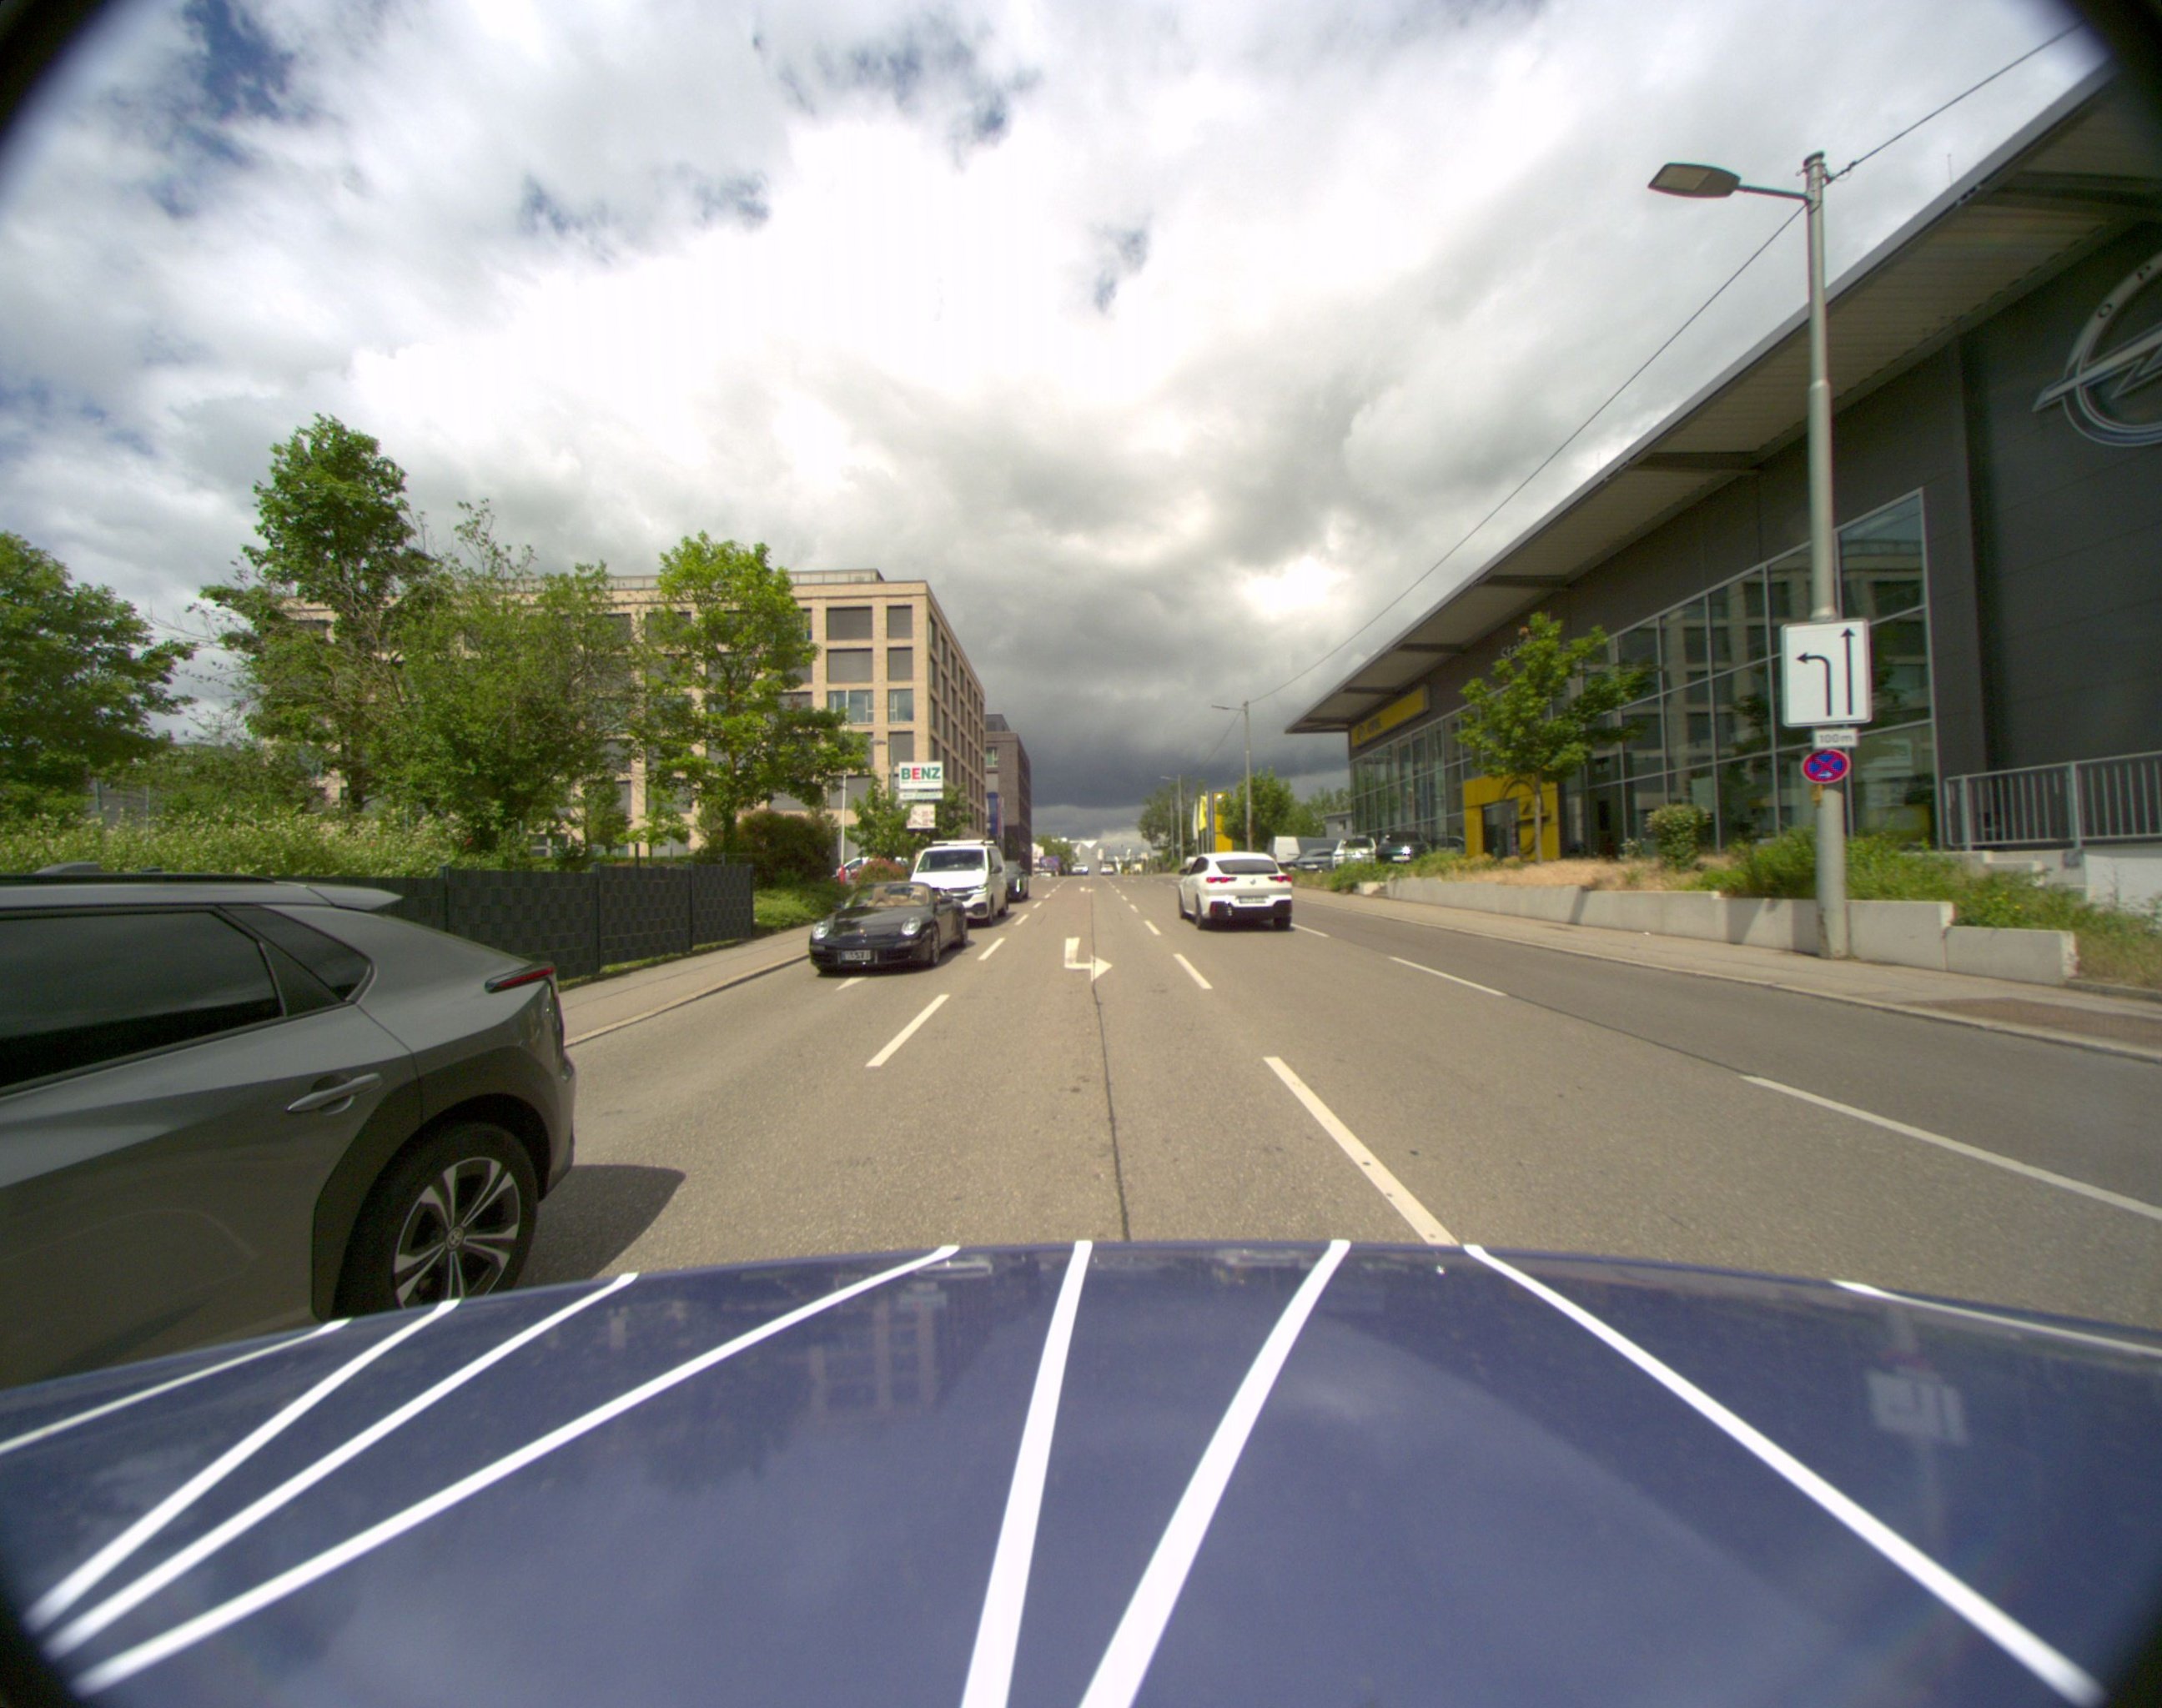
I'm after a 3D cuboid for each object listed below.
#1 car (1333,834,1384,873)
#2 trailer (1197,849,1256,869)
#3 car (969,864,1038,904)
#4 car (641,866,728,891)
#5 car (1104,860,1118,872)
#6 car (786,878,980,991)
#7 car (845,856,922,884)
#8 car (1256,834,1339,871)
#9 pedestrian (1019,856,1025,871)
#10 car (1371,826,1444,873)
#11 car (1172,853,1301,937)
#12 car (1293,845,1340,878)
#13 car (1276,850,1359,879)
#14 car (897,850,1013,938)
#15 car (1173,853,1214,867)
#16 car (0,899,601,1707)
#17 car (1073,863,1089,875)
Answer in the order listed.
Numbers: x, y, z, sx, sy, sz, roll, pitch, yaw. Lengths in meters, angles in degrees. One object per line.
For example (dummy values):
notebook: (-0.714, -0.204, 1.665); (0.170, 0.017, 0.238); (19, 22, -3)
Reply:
car: (12.305, -0.027, 33.562); (1.793, 1.604, 4.115); (-1, 1, 25)
trailer: (13.137, 0.430, 68.679); (4.835, 1.742, 2.095); (-1, 0, -3)
car: (-2.782, 1.054, 28.194); (1.777, 1.267, 4.569); (-1, 0, 4)
car: (-23.385, 1.431, 44.890); (4.219, 1.410, 1.735); (-1, 0, -1)
car: (4.348, 1.786, 111.680); (1.924, 1.604, 4.415); (-1, 1, 1)
car: (-2.924, 1.140, 12.327); (1.777, 1.267, 4.569); (-3, 0, 2)
car: (-11.768, 0.928, 45.483); (4.220, 1.567, 1.735); (-1, 0, -4)
car: (13.585, -0.101, 47.823); (4.532, 2.182, 2.179); (-1, 1, -2)
pedestrian: (-6.051, 0.960, 78.155); (0.578, 1.497, 0.542); (-1, 1, 1)
car: (12.391, -0.144, 28.694); (1.817, 1.603, 4.117); (-2, -1, 33)
car: (3.188, 0.766, 16.436); (1.832, 1.543, 4.305); (-1, 0, -1)
car: (12.158, 0.378, 39.062); (1.794, 1.604, 4.116); (-1, 0, 24)
car: (13.328, 0.580, 43.011); (4.108, 1.604, 1.797); (-1, 0, -8)
car: (-2.958, 0.878, 18.907); (1.964, 1.840, 4.645); (-3, 0, 1)
car: (12.462, 0.703, 84.414); (4.252, 1.473, 2.095); (-1, 0, -2)
car: (-3.002, 1.026, 0.783); (1.924, 1.604, 4.683); (-3, 0, 1)
car: (0.017, 1.847, 95.266); (1.866, 1.398, 4.000); (-1, 0, 1)
